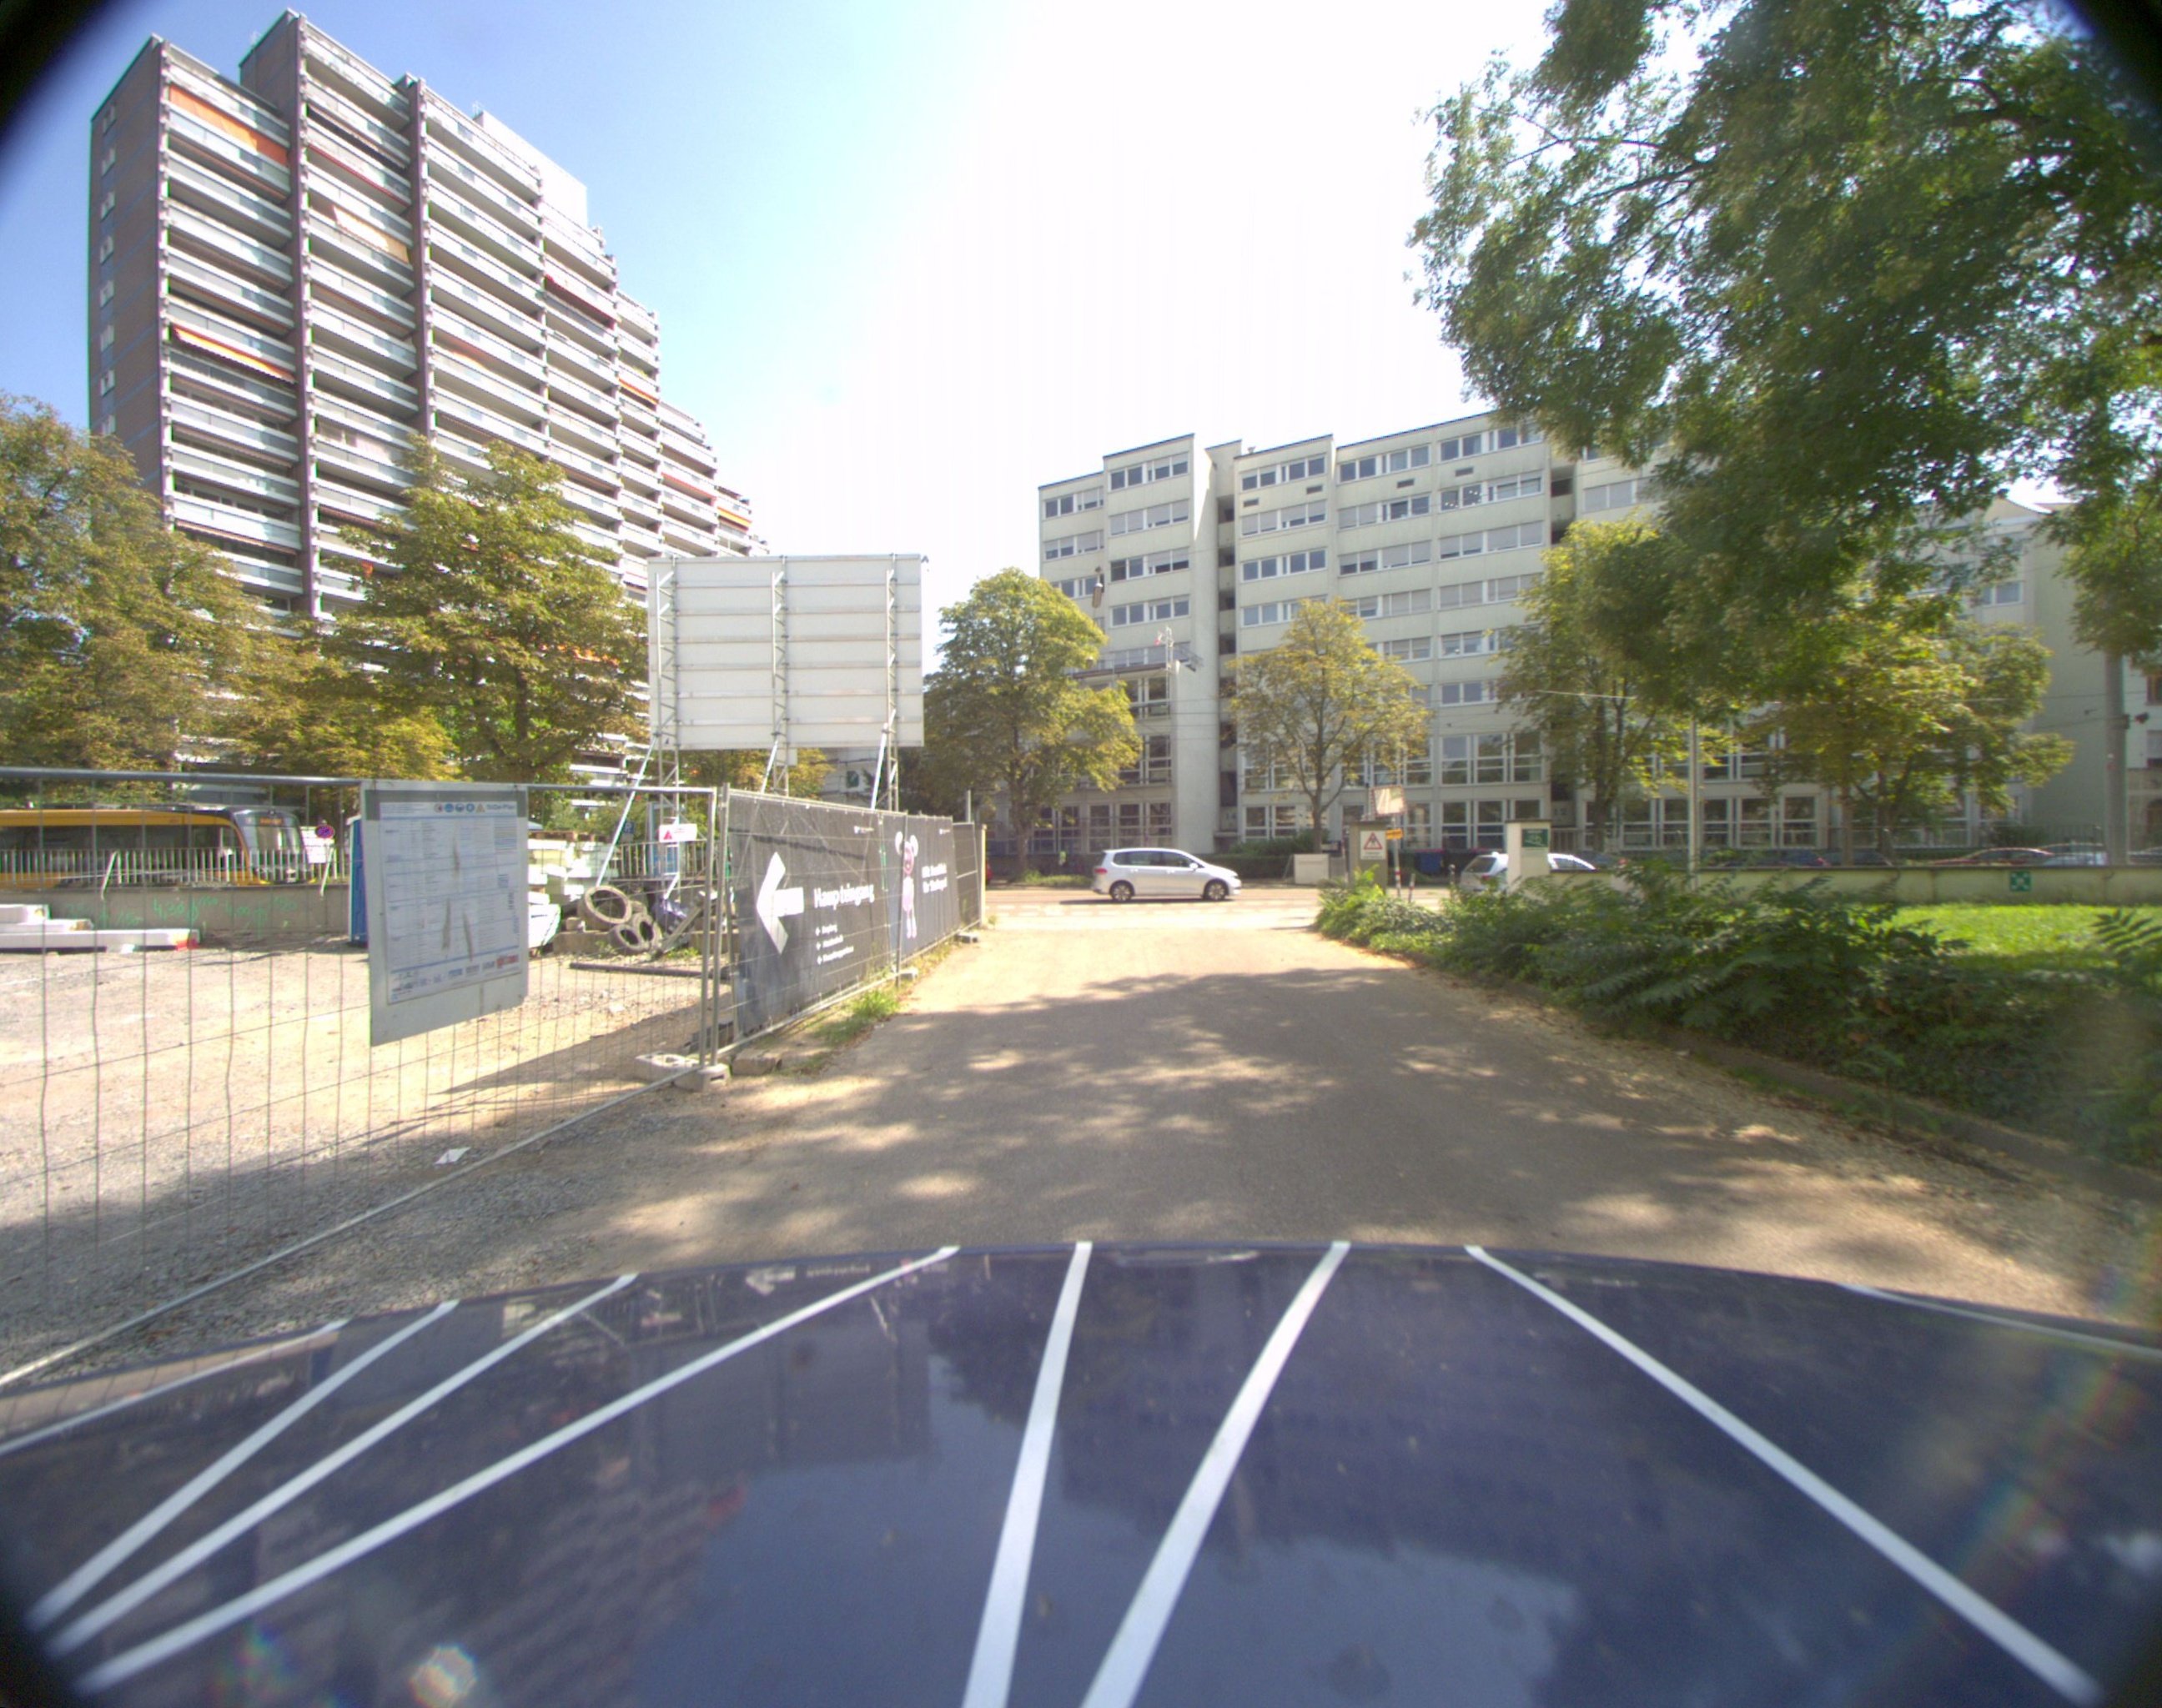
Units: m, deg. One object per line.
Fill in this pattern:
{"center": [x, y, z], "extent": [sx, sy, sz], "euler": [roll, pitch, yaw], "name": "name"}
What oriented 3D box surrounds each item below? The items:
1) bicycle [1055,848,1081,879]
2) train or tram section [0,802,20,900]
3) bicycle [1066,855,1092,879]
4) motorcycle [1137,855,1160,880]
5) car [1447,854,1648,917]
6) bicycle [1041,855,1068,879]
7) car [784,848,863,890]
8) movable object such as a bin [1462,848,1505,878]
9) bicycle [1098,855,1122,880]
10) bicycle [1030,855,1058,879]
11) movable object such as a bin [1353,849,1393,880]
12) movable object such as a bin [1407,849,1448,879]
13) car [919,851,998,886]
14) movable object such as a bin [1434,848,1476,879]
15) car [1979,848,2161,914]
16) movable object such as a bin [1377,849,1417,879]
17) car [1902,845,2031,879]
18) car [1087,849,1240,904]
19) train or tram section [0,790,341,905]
{"center": [-0.673, 0.494, 41.156], "extent": [0.600, 1.517, 2.349], "euler": [1, 3, 20], "name": "bicycle"}
{"center": [-46.811, 0.009, 27.339], "extent": [12.401, 3.683, 3.508], "euler": [-1, 1, 1], "name": "train or tram section"}
{"center": [-0.076, 0.684, 40.937], "extent": [0.600, 1.162, 2.349], "euler": [1, 3, 20], "name": "bicycle"}
{"center": [3.543, 0.682, 39.742], "extent": [0.693, 1.176, 1.847], "euler": [1, 3, 20], "name": "motorcycle"}
{"center": [11.128, 0.740, 18.342], "extent": [3.729, 1.437, 1.798], "euler": [0, 0, 3], "name": "car"}
{"center": [-1.408, 0.685, 41.421], "extent": [0.600, 1.153, 2.349], "euler": [1, 3, 20], "name": "bicycle"}
{"center": [-11.809, 0.647, 34.677], "extent": [1.829, 1.761, 4.273], "euler": [0, 0, -43], "name": "car"}
{"center": [21.062, 0.474, 39.785], "extent": [1.353, 1.550, 1.688], "euler": [0, 0, -1], "name": "movable object such as a bin"}
{"center": [1.566, 0.702, 40.273], "extent": [0.620, 1.162, 2.348], "euler": [0, 3, 18], "name": "bicycle"}
{"center": [-2.008, 0.693, 41.641], "extent": [0.600, 1.153, 2.349], "euler": [1, 3, 20], "name": "bicycle"}
{"center": [15.089, 0.532, 39.318], "extent": [1.353, 1.550, 1.688], "euler": [0, 0, -1], "name": "movable object such as a bin"}
{"center": [18.030, 0.500, 39.627], "extent": [1.353, 1.550, 1.688], "euler": [0, 0, -1], "name": "movable object such as a bin"}
{"center": [-5.689, 0.628, 35.088], "extent": [1.724, 1.499, 3.849], "euler": [-1, 0, -43], "name": "car"}
{"center": [19.586, 0.488, 39.807], "extent": [1.353, 1.550, 1.688], "euler": [0, 0, -1], "name": "movable object such as a bin"}
{"center": [24.701, 0.620, 18.510], "extent": [3.638, 1.503, 1.646], "euler": [0, 1, 0], "name": "car"}
{"center": [16.526, 0.518, 39.772], "extent": [1.353, 1.550, 1.688], "euler": [0, 0, -1], "name": "movable object such as a bin"}
{"center": [39.317, 0.312, 33.860], "extent": [1.680, 1.443, 3.660], "euler": [-1, 2, -41], "name": "car"}
{"center": [2.440, 0.663, 23.248], "extent": [4.360, 1.551, 1.998], "euler": [0, 3, -4], "name": "car"}
{"center": [-34.358, -0.203, 27.145], "extent": [12.401, 3.683, 3.508], "euler": [-1, 1, 1], "name": "train or tram section"}
